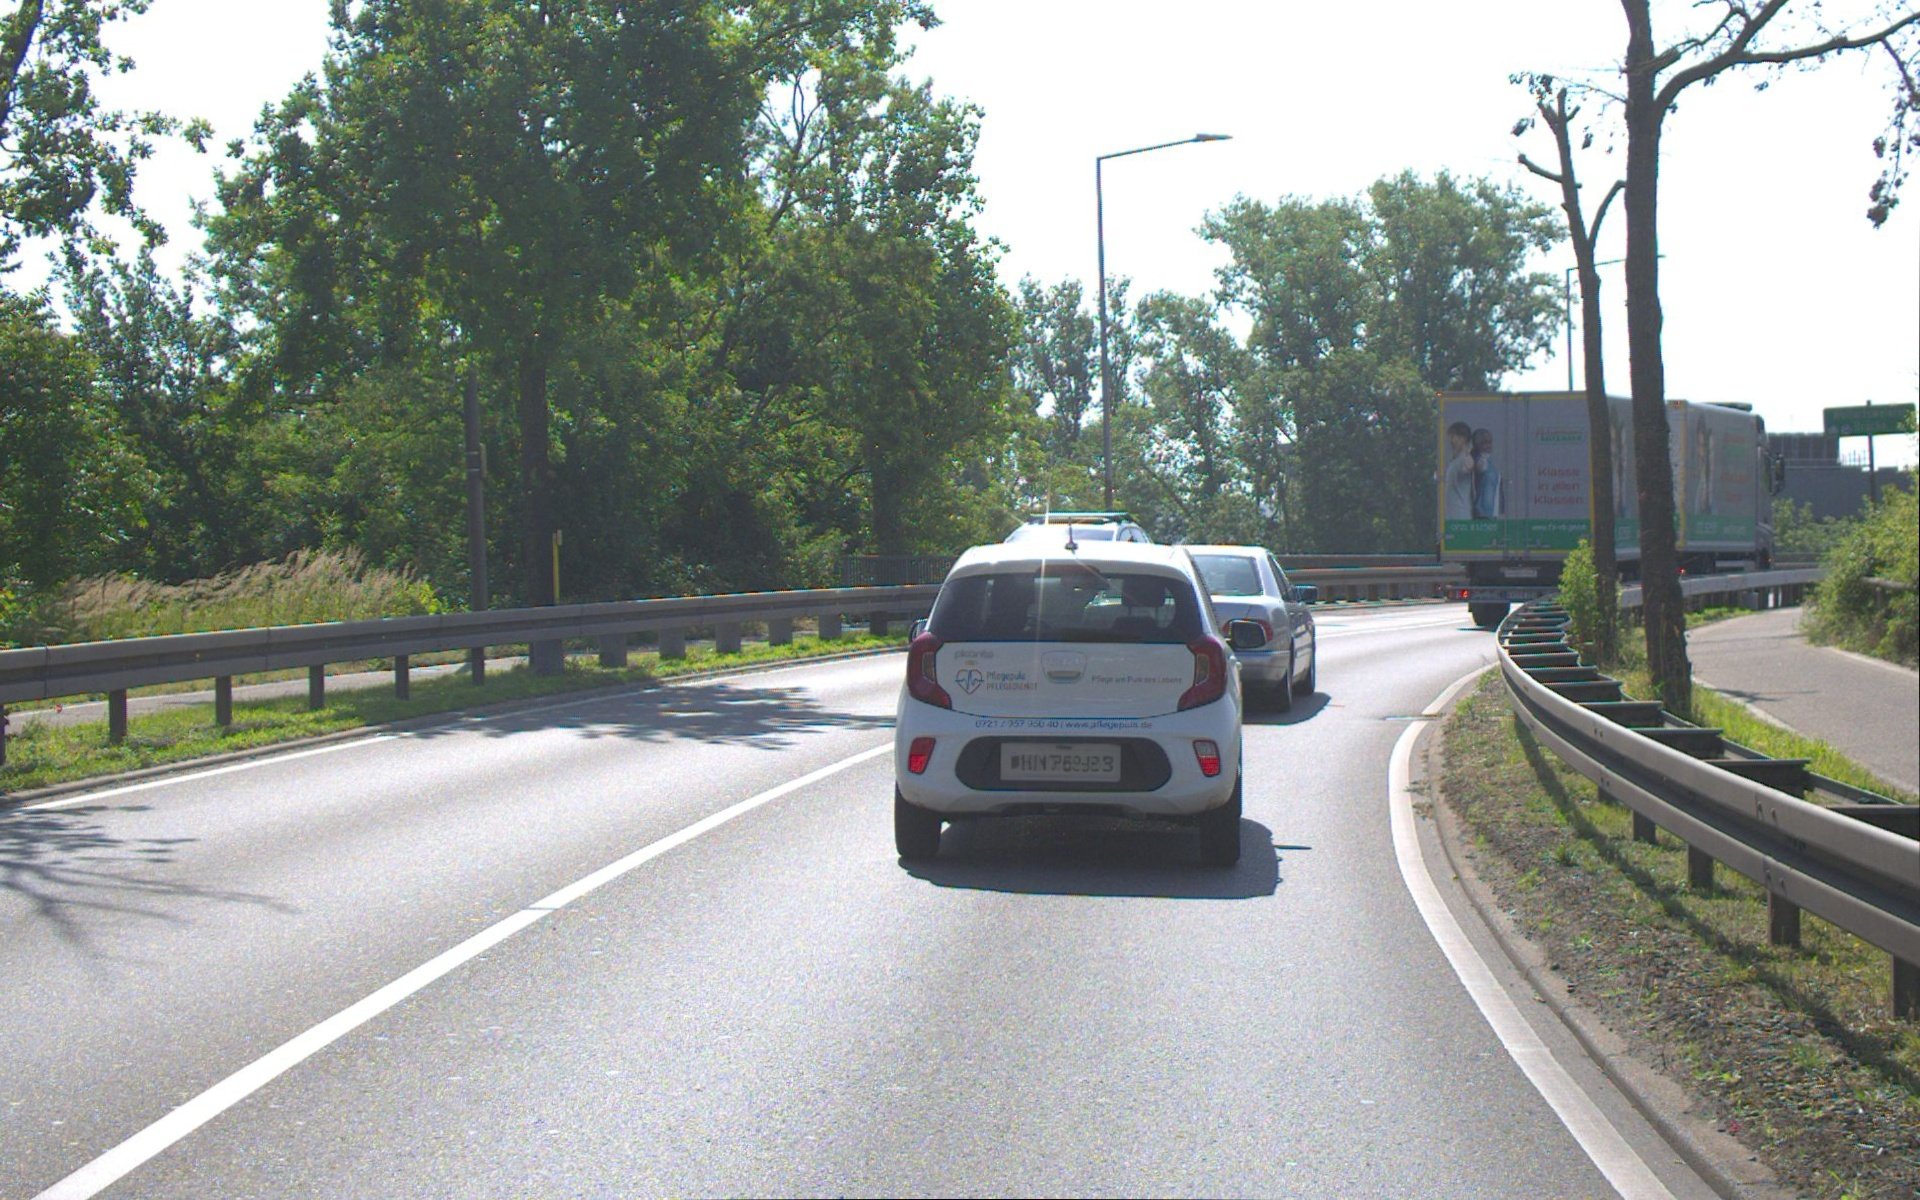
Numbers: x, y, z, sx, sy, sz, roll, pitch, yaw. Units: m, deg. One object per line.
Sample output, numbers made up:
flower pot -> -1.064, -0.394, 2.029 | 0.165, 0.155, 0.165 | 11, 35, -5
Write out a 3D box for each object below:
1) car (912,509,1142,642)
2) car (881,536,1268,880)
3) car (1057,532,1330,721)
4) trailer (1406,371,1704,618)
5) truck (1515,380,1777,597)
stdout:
car -> 0.876, -0.333, 41.967 | 1.931, 1.528, 4.115 | 1, 1, 14
car -> 0.582, 0.444, 17.347 | 1.701, 1.489, 4.000 | 1, 1, 2
car -> 2.128, 0.158, 29.975 | 1.939, 1.481, 4.898 | 1, 1, 9
trailer -> 9.931, -1.806, 56.639 | 3.228, 3.745, 7.817 | 2, 3, 22
truck -> 12.889, -2.144, 64.012 | 3.264, 3.745, 8.362 | 2, 3, 22
